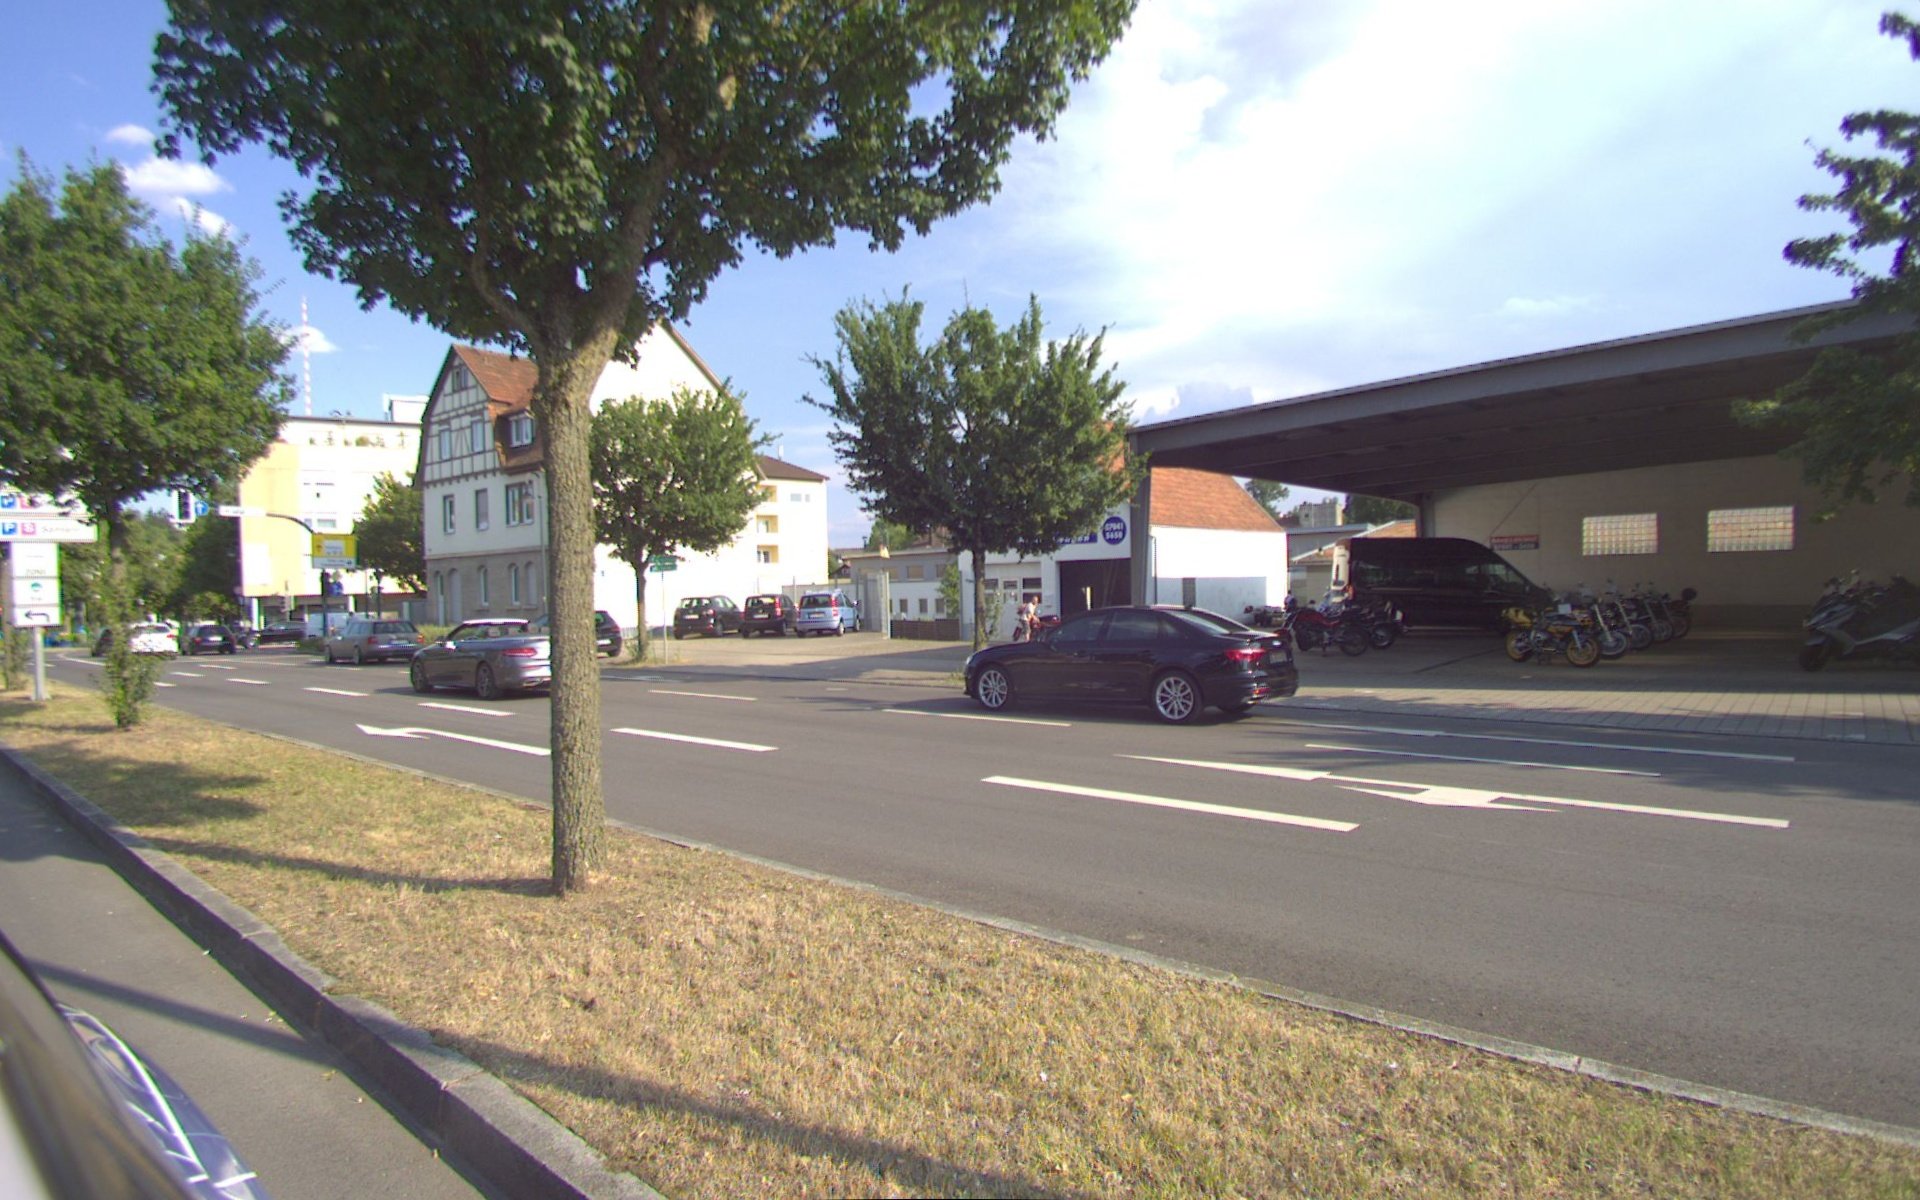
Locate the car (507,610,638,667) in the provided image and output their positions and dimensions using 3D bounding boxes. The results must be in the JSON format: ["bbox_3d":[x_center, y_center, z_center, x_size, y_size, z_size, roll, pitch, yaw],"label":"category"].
[{"bbox_3d":[-11.529,1.099,30.017,4.193,1.454,1.816,-1,3,41],"label":"car"}]

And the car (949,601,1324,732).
[{"bbox_3d":[2.191,0.778,13.468,4.642,1.432,1.824,-1,0,41],"label":"car"}]

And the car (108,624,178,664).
[{"bbox_3d":[-33.399,1.758,41.342,3.957,1.508,1.781,-1,0,44],"label":"car"}]

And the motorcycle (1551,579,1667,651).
[{"bbox_3d":[13.864,0.308,21.699,0.584,1.459,2.161,-1,0,-19],"label":"motorcycle"}]

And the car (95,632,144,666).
[{"bbox_3d":[-40.517,2.332,48.829,1.747,1.462,4.115,-1,-1,-39],"label":"car"}]

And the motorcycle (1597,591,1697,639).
[{"bbox_3d":[17.219,0.369,25.424,0.553,1.131,2.161,-1,0,-19],"label":"motorcycle"}]

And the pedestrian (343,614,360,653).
[{"bbox_3d":[-32.173,1.771,53.522,0.688,1.997,0.590,-1,0,-28],"label":"pedestrian"}]

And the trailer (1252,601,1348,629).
[{"bbox_3d":[12.528,0.549,37.238,2.449,0.831,3.152,-1,2,38],"label":"trailer"}]

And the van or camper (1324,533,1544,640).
[{"bbox_3d":[12.782,-0.343,27.587,4.979,2.700,1.995,-1,0,8],"label":"van or camper"}]

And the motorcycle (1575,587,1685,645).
[{"bbox_3d":[15.490,0.360,23.477,0.636,1.268,2.161,-1,0,-19],"label":"motorcycle"}]

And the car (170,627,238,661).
[{"bbox_3d":[-35.785,2.043,47.869,4.244,1.508,1.788,-1,0,42],"label":"car"}]

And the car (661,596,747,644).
[{"bbox_3d":[-9.447,0.697,37.706,1.746,1.563,3.992,-2,1,7],"label":"car"}]

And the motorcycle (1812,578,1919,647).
[{"bbox_3d":[18.128,0.239,19.883,2.068,1.317,0.581,-1,0,12],"label":"motorcycle"}]

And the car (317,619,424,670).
[{"bbox_3d":[-19.027,1.390,32.562,4.711,1.473,1.668,-1,0,43],"label":"car"}]

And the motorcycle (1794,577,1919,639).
[{"bbox_3d":[19.927,0.187,22.511,2.068,1.317,0.561,-1,0,12],"label":"motorcycle"}]

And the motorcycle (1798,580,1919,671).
[{"bbox_3d":[13.903,0.371,15.114,2.093,1.317,0.561,-1,0,12],"label":"motorcycle"}]

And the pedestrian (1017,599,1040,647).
[{"bbox_3d":[2.221,0.735,32.813,0.646,1.535,0.672,-1,0,10],"label":"pedestrian"}]

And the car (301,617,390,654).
[{"bbox_3d":[-35.158,1.974,58.079,1.805,1.938,4.937,-1,0,5],"label":"car"}]

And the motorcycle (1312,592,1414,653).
[{"bbox_3d":[9.038,0.510,22.754,1.982,1.321,0.649,-1,0,5],"label":"motorcycle"}]

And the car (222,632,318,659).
[{"bbox_3d":[-41.365,2.704,60.757,4.594,1.364,1.770,-1,0,-41],"label":"car"}]

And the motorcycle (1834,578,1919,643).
[{"bbox_3d":[19.627,0.216,21.113,2.068,1.317,0.561,-1,0,12],"label":"motorcycle"}]

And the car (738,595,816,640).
[{"bbox_3d":[-6.671,0.611,37.350,1.746,1.564,3.992,-1,0,7],"label":"car"}]

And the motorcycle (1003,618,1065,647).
[{"bbox_3d":[2.420,1.051,33.341,2.212,0.927,0.500,-1,0,45],"label":"motorcycle"}]

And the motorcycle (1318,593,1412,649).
[{"bbox_3d":[9.805,0.502,24.534,1.982,1.321,0.649,-1,0,5],"label":"motorcycle"}]

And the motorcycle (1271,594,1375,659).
[{"bbox_3d":[7.570,0.554,21.171,1.991,1.321,0.665,-1,0,18],"label":"motorcycle"}]

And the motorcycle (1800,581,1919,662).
[{"bbox_3d":[15.291,0.351,16.766,2.068,1.317,0.561,-1,0,12],"label":"motorcycle"}]

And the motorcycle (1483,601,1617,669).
[{"bbox_3d":[10.467,0.598,18.062,0.620,1.132,2.161,-1,0,-19],"label":"motorcycle"}]

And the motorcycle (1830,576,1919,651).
[{"bbox_3d":[17.117,0.240,18.259,2.068,1.317,0.621,-1,0,12],"label":"motorcycle"}]

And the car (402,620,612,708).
[{"bbox_3d":[-8.297,1.072,18.360,4.476,1.359,1.762,-1,0,41],"label":"car"}]

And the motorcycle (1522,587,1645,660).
[{"bbox_3d":[12.144,0.440,19.810,0.553,1.340,2.161,-1,0,-19],"label":"motorcycle"}]

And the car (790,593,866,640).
[{"bbox_3d":[-4.590,0.557,35.717,1.746,1.564,3.992,-1,0,7],"label":"car"}]
